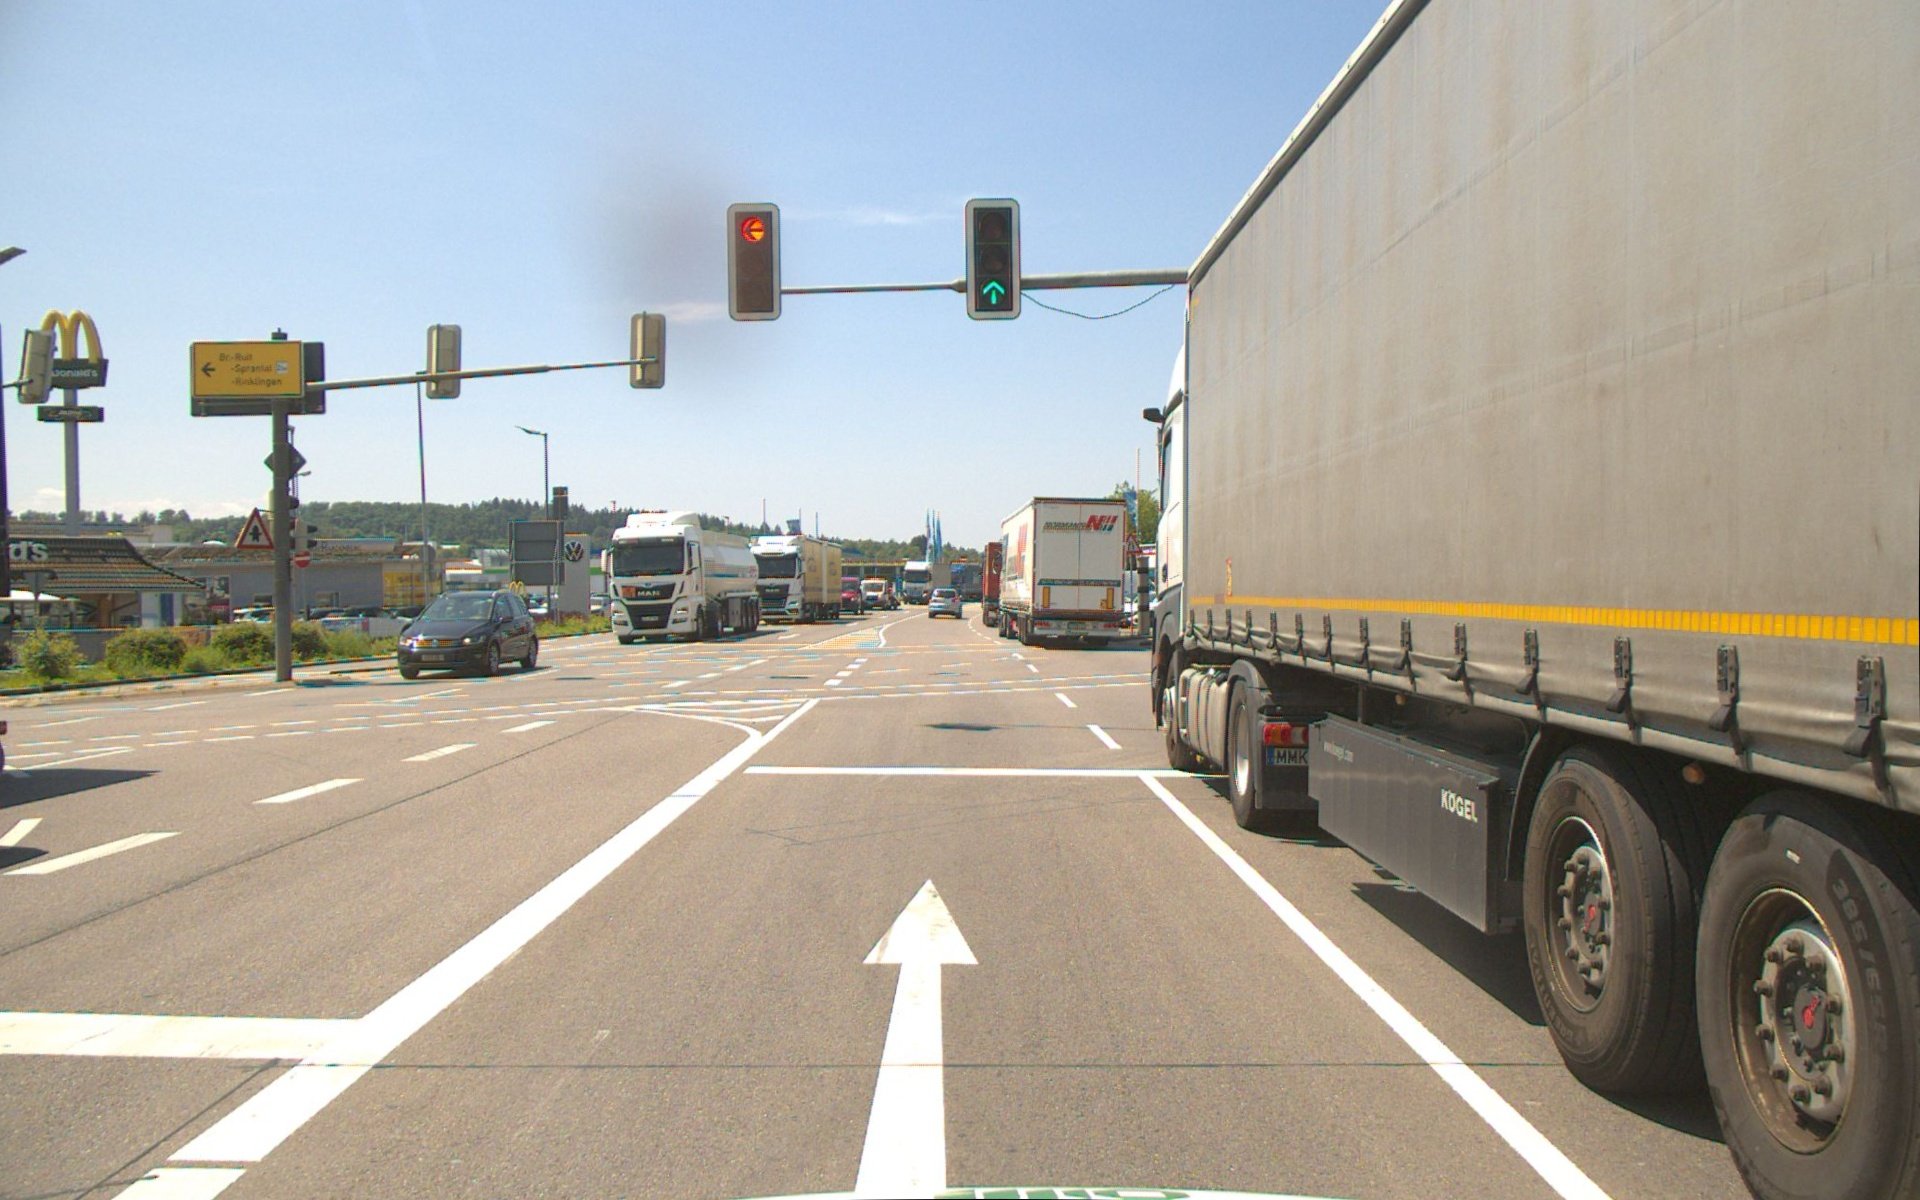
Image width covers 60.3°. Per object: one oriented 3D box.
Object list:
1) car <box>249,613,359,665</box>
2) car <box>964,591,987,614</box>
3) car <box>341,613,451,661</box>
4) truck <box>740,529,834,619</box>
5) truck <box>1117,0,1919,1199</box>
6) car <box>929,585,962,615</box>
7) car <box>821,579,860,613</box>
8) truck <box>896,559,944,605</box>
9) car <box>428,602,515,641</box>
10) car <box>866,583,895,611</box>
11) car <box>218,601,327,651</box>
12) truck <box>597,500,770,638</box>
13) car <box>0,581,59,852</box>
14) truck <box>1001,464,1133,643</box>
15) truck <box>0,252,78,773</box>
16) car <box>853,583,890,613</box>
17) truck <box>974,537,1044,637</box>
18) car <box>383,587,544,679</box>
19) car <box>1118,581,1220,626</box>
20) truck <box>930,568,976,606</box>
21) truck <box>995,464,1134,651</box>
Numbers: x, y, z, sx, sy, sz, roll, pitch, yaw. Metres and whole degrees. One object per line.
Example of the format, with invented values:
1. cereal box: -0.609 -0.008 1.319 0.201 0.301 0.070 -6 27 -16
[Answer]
1. car: -27.878 1.626 70.367 1.904 2.049 3.986 -1 0 35
2. car: 1.409 0.252 150.750 1.952 2.049 4.001 -1 0 3
3. car: -23.436 1.517 68.838 1.959 1.825 3.986 -1 0 35
4. truck: -8.336 -1.214 81.734 2.874 4.019 13.867 -1 0 1
5. truck: 3.027 -0.523 7.953 2.699 4.720 16.650 1 -1 -1
6. car: -0.813 -0.002 95.446 1.767 1.699 4.292 0 0 1
7. car: -7.419 -0.236 103.277 1.952 2.049 4.001 0 -1 3
8. truck: -3.783 -1.684 161.388 3.202 4.019 13.871 0 -1 5
9. car: -22.992 1.002 77.913 1.758 1.687 3.569 -1 0 41
10. car: -6.094 -0.197 126.949 1.865 2.049 4.001 0 -1 2
11. car: -29.769 1.101 71.688 1.904 2.049 3.986 -1 0 35
12. truck: -8.941 -0.949 55.660 2.873 4.019 14.241 -1 0 2
13. car: -6.287 0.687 8.030 1.629 1.535 3.905 -1 0 0
14. truck: 3.027 -1.082 52.067 2.816 4.720 16.650 1 -1 -1
15. truck: -9.831 -0.679 6.389 3.081 4.425 17.545 -1 0 1
16. car: -6.311 -0.153 118.689 2.157 2.049 4.758 -1 0 3
17. truck: 2.322 -0.455 84.746 2.816 4.557 16.650 1 -1 -1
18. car: -9.611 0.585 32.347 1.788 1.610 4.246 -2 0 0
19. car: 8.909 0.127 70.552 3.913 1.825 1.996 -1 0 -9
20. truck: -0.656 -1.480 183.741 3.201 4.019 13.876 -1 0 8
21. truck: 2.923 -1.155 51.233 2.875 4.922 14.866 -1 0 -2
